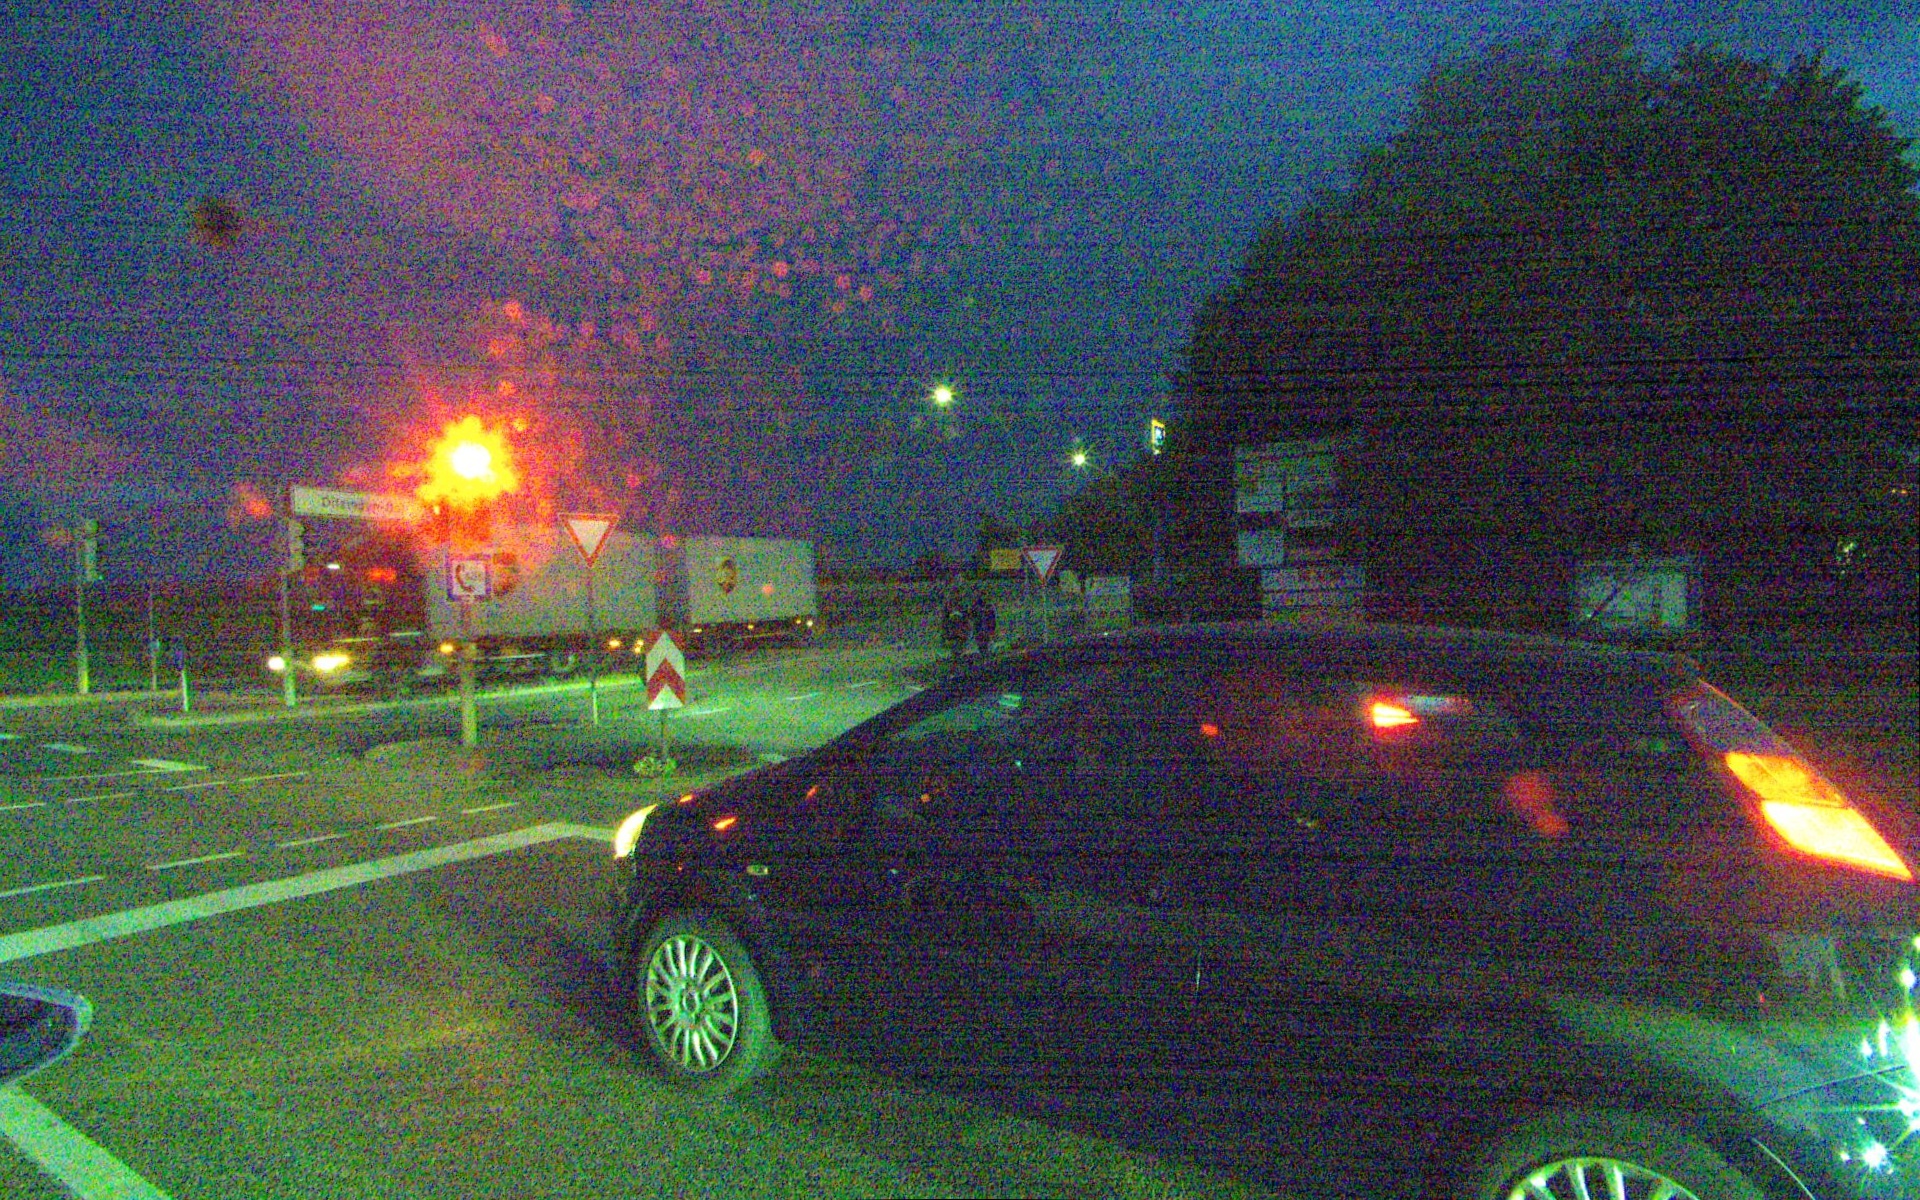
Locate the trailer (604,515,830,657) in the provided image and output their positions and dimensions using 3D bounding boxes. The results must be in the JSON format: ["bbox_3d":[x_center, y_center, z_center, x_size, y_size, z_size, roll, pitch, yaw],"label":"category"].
[{"bbox_3d":[-8.228,-0.410,35.535,2.876,4.359,9.046,0,0,23],"label":"trailer"}]

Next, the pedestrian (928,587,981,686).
[{"bbox_3d":[-0.104,0.701,19.544,0.861,1.859,0.731,-3,1,6],"label":"pedestrian"}]

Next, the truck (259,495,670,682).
[{"bbox_3d":[-12.463,-0.239,26.748,2.879,4.032,10.031,0,0,28],"label":"truck"}]

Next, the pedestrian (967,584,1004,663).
[{"bbox_3d":[0.635,0.577,24.721,0.860,1.925,0.660,-1,1,6],"label":"pedestrian"}]

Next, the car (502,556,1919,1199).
[{"bbox_3d":[0.450,0.743,3.242,4.049,1.540,1.666,-1,-1,34],"label":"car"}]

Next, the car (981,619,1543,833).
[{"bbox_3d":[2.472,0.900,9.193,1.905,1.450,4.660,1,-1,-42],"label":"car"}]
